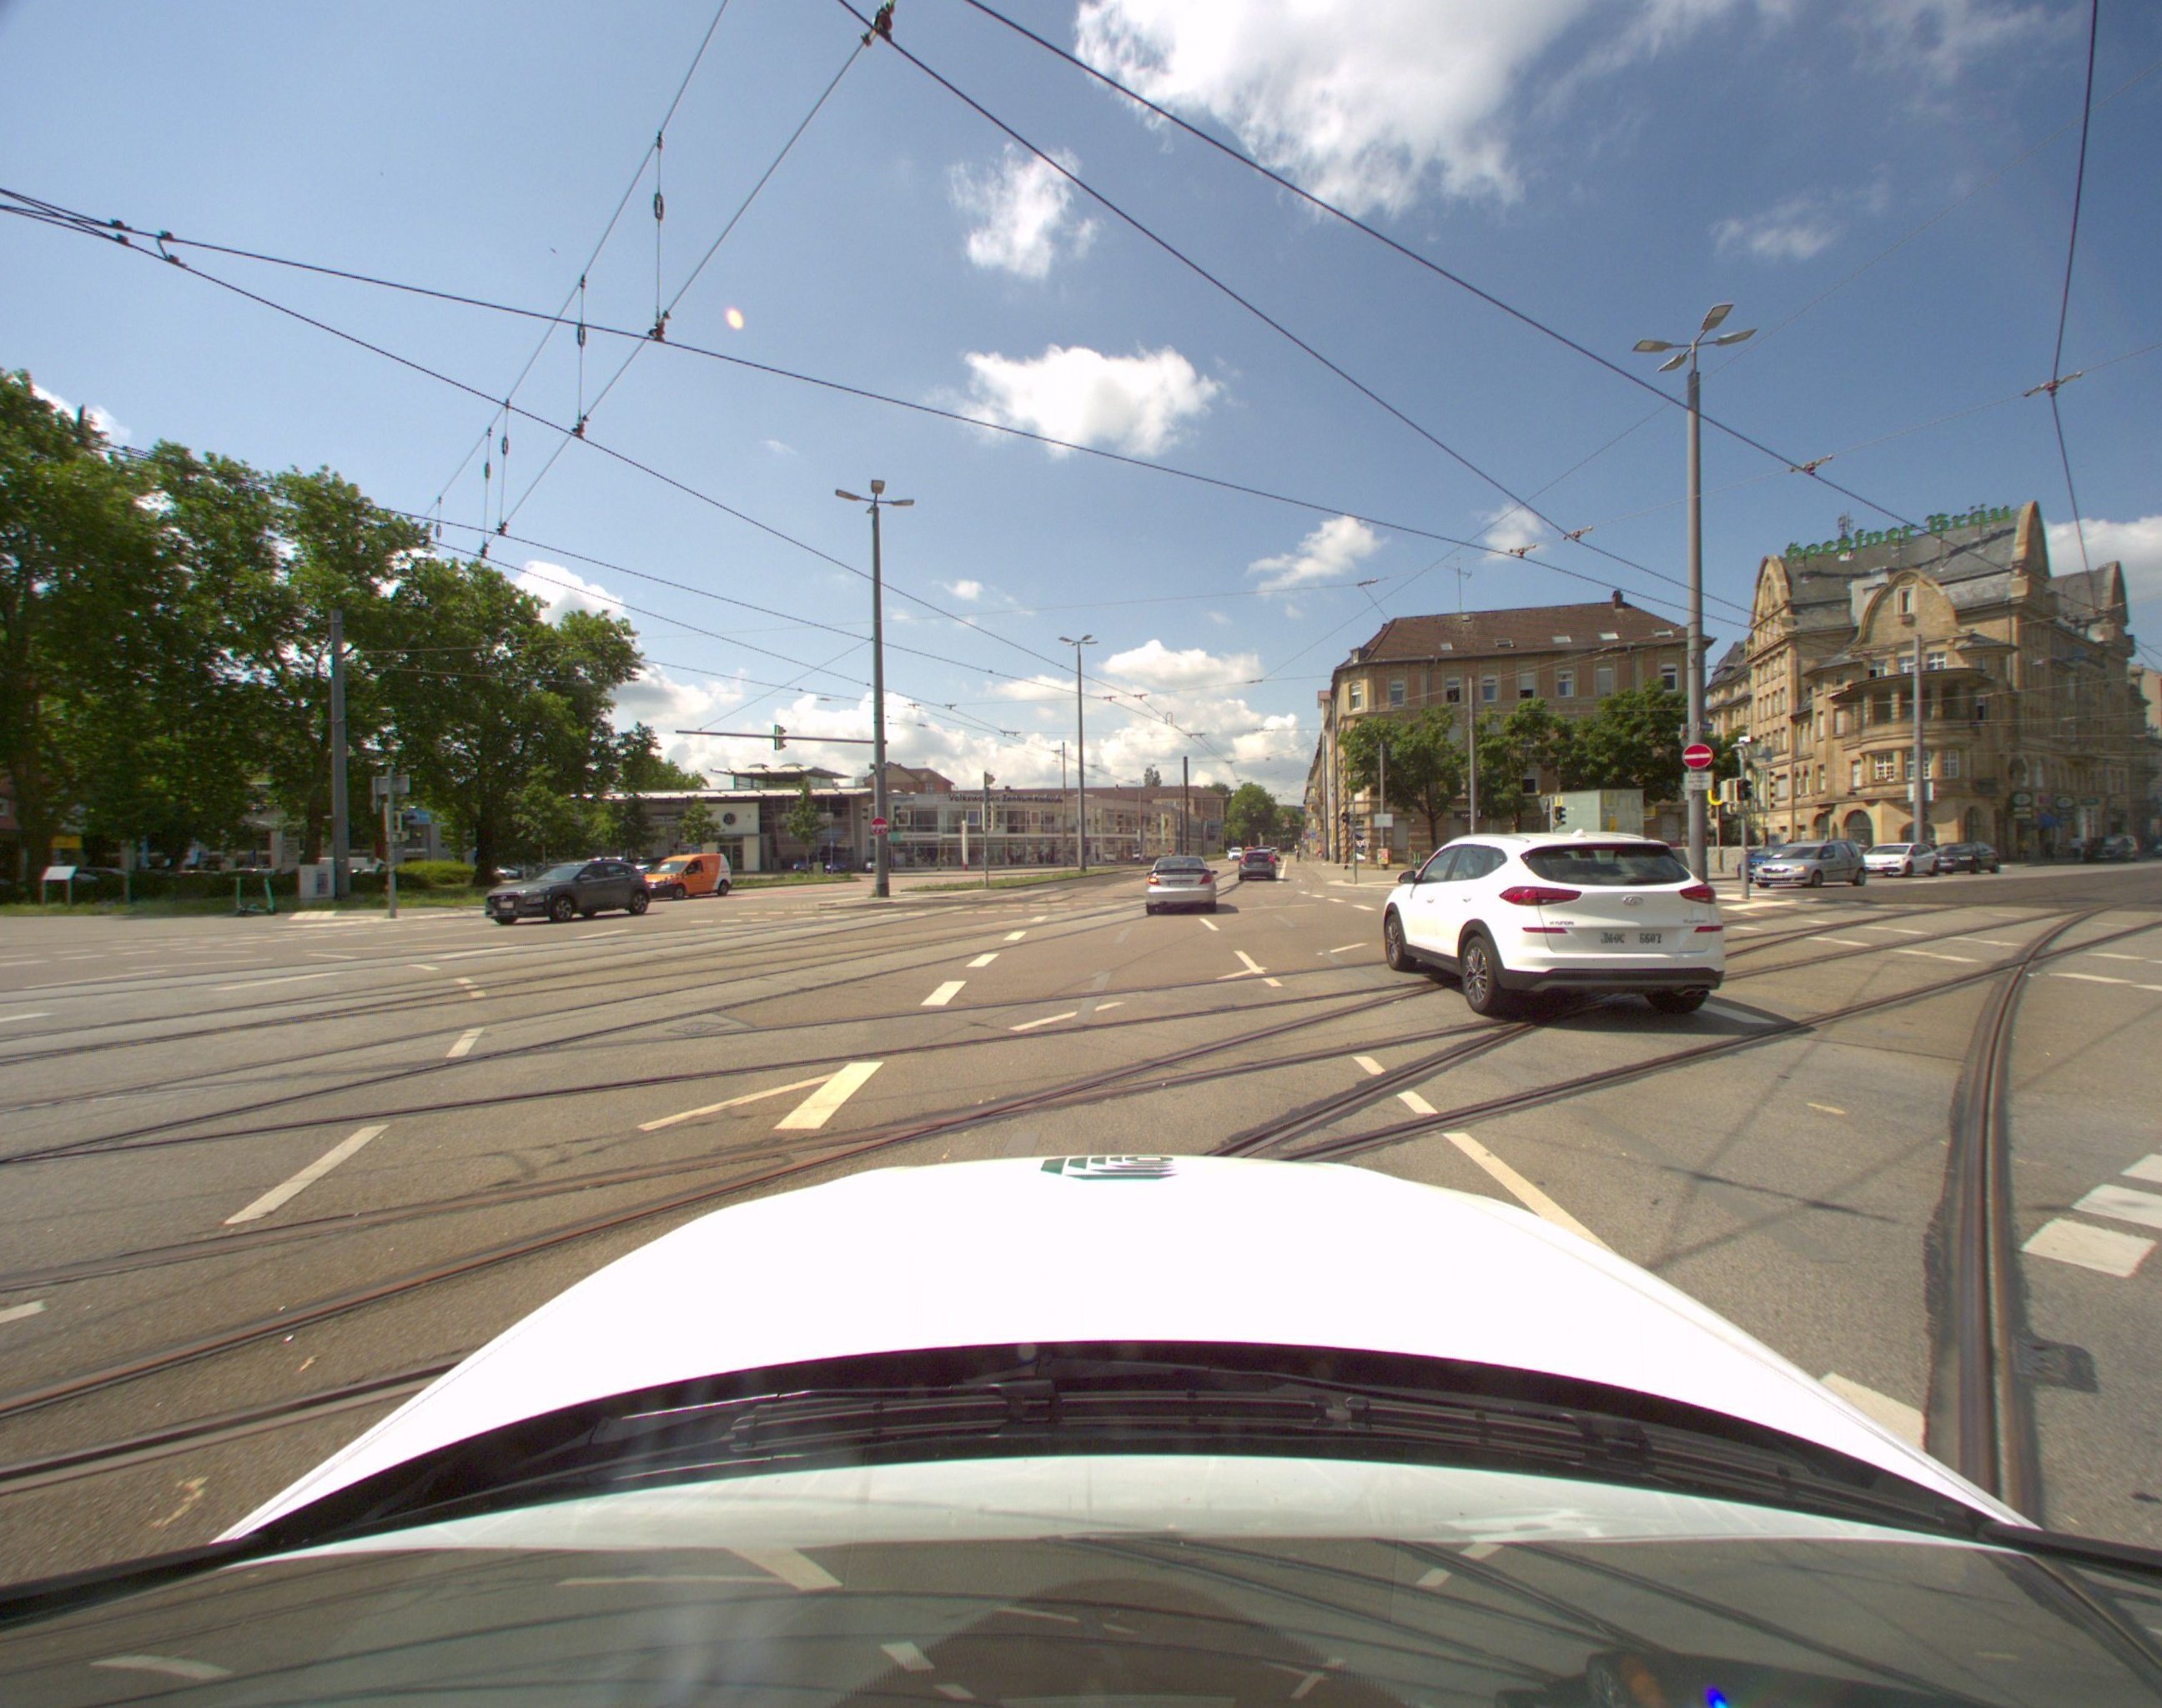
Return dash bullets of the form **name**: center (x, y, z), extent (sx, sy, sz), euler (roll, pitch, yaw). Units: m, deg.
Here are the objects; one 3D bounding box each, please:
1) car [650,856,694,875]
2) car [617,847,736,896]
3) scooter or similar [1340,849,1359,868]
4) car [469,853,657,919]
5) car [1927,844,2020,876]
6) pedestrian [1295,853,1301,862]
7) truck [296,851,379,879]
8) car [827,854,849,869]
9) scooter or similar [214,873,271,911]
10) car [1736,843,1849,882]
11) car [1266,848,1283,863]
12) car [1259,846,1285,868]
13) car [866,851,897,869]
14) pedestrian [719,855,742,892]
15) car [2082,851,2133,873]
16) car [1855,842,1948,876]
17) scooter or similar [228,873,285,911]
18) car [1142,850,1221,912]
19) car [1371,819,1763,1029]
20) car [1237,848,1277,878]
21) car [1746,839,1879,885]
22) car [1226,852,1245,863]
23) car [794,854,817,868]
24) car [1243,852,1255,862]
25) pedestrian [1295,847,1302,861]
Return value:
- **car**: center (-36.368, 1.021, 72.463), extent (1.990, 1.574, 4.171), euler (1, -1, -4)
- **car**: center (-16.201, 0.655, 32.944), extent (1.707, 1.800, 4.755), euler (-1, 0, 11)
- **scooter or similar**: center (17.711, 0.303, 53.713), extent (1.529, 1.174, 0.378), euler (2, -2, -39)
- **car**: center (-13.274, 0.754, 21.205), extent (1.706, 1.531, 4.135), euler (0, 0, 12)
- **car**: center (43.107, 0.265, 39.339), extent (4.142, 1.473, 1.711), euler (0, 0, -22)
- **pedestrian**: center (22.750, 0.360, 85.421), extent (0.521, 0.907, 1.566), euler (0, -1, 13)
- **truck**: center (-56.971, 0.809, 62.495), extent (1.796, 2.120, 4.783), euler (0, 0, 3)
- **car**: center (-21.282, 0.646, 71.410), extent (1.651, 1.251, 3.978), euler (1, -1, -15)
- **scooter or similar**: center (-25.105, 1.117, 24.403), extent (0.375, 1.115, 1.100), euler (0, -2, 18)
- **car**: center (28.351, 0.330, 32.455), extent (4.142, 1.473, 1.711), euler (0, 0, -22)
- **car**: center (22.597, 0.171, 95.182), extent (1.868, 1.641, 3.972), euler (0, 0, 14)
- **car**: center (14.661, 0.252, 62.683), extent (1.868, 1.641, 3.971), euler (0, 0, 13)
- **car**: center (-17.977, 0.568, 73.494), extent (1.990, 1.574, 3.994), euler (1, -1, -4)
- **pedestrian**: center (-17.311, 0.960, 40.260), extent (0.755, 1.800, 0.767), euler (0, 0, 11)
- **car**: center (71.227, 0.553, 56.521), extent (4.153, 1.473, 1.706), euler (0, 0, -31)
- **car**: center (36.986, 0.222, 36.693), extent (4.147, 1.473, 1.709), euler (0, 0, -26)
- **scooter or similar**: center (-24.487, 1.121, 24.207), extent (0.375, 1.115, 1.100), euler (0, -2, 18)
- **car**: center (2.677, 0.625, 20.953), extent (1.730, 1.392, 4.191), euler (-2, 0, 10)
- **car**: center (4.566, 0.543, 8.523), extent (1.872, 1.641, 4.238), euler (0, 0, 5)
- **car**: center (8.836, 0.439, 40.795), extent (1.868, 1.419, 3.971), euler (0, 0, 13)
- **car**: center (24.762, 0.260, 27.580), extent (4.142, 1.473, 1.711), euler (0, 0, -22)
- **car**: center (20.081, 0.451, 105.652), extent (1.865, 1.419, 3.977), euler (0, 0, 20)
- **car**: center (-24.298, 0.635, 71.797), extent (1.651, 1.251, 3.978), euler (1, -1, -15)
- **car**: center (28.721, 0.558, 139.277), extent (1.868, 1.693, 3.972), euler (0, 0, 14)
- **pedestrian**: center (22.807, -0.015, 85.575), extent (0.687, 1.457, 0.682), euler (0, -2, 13)
